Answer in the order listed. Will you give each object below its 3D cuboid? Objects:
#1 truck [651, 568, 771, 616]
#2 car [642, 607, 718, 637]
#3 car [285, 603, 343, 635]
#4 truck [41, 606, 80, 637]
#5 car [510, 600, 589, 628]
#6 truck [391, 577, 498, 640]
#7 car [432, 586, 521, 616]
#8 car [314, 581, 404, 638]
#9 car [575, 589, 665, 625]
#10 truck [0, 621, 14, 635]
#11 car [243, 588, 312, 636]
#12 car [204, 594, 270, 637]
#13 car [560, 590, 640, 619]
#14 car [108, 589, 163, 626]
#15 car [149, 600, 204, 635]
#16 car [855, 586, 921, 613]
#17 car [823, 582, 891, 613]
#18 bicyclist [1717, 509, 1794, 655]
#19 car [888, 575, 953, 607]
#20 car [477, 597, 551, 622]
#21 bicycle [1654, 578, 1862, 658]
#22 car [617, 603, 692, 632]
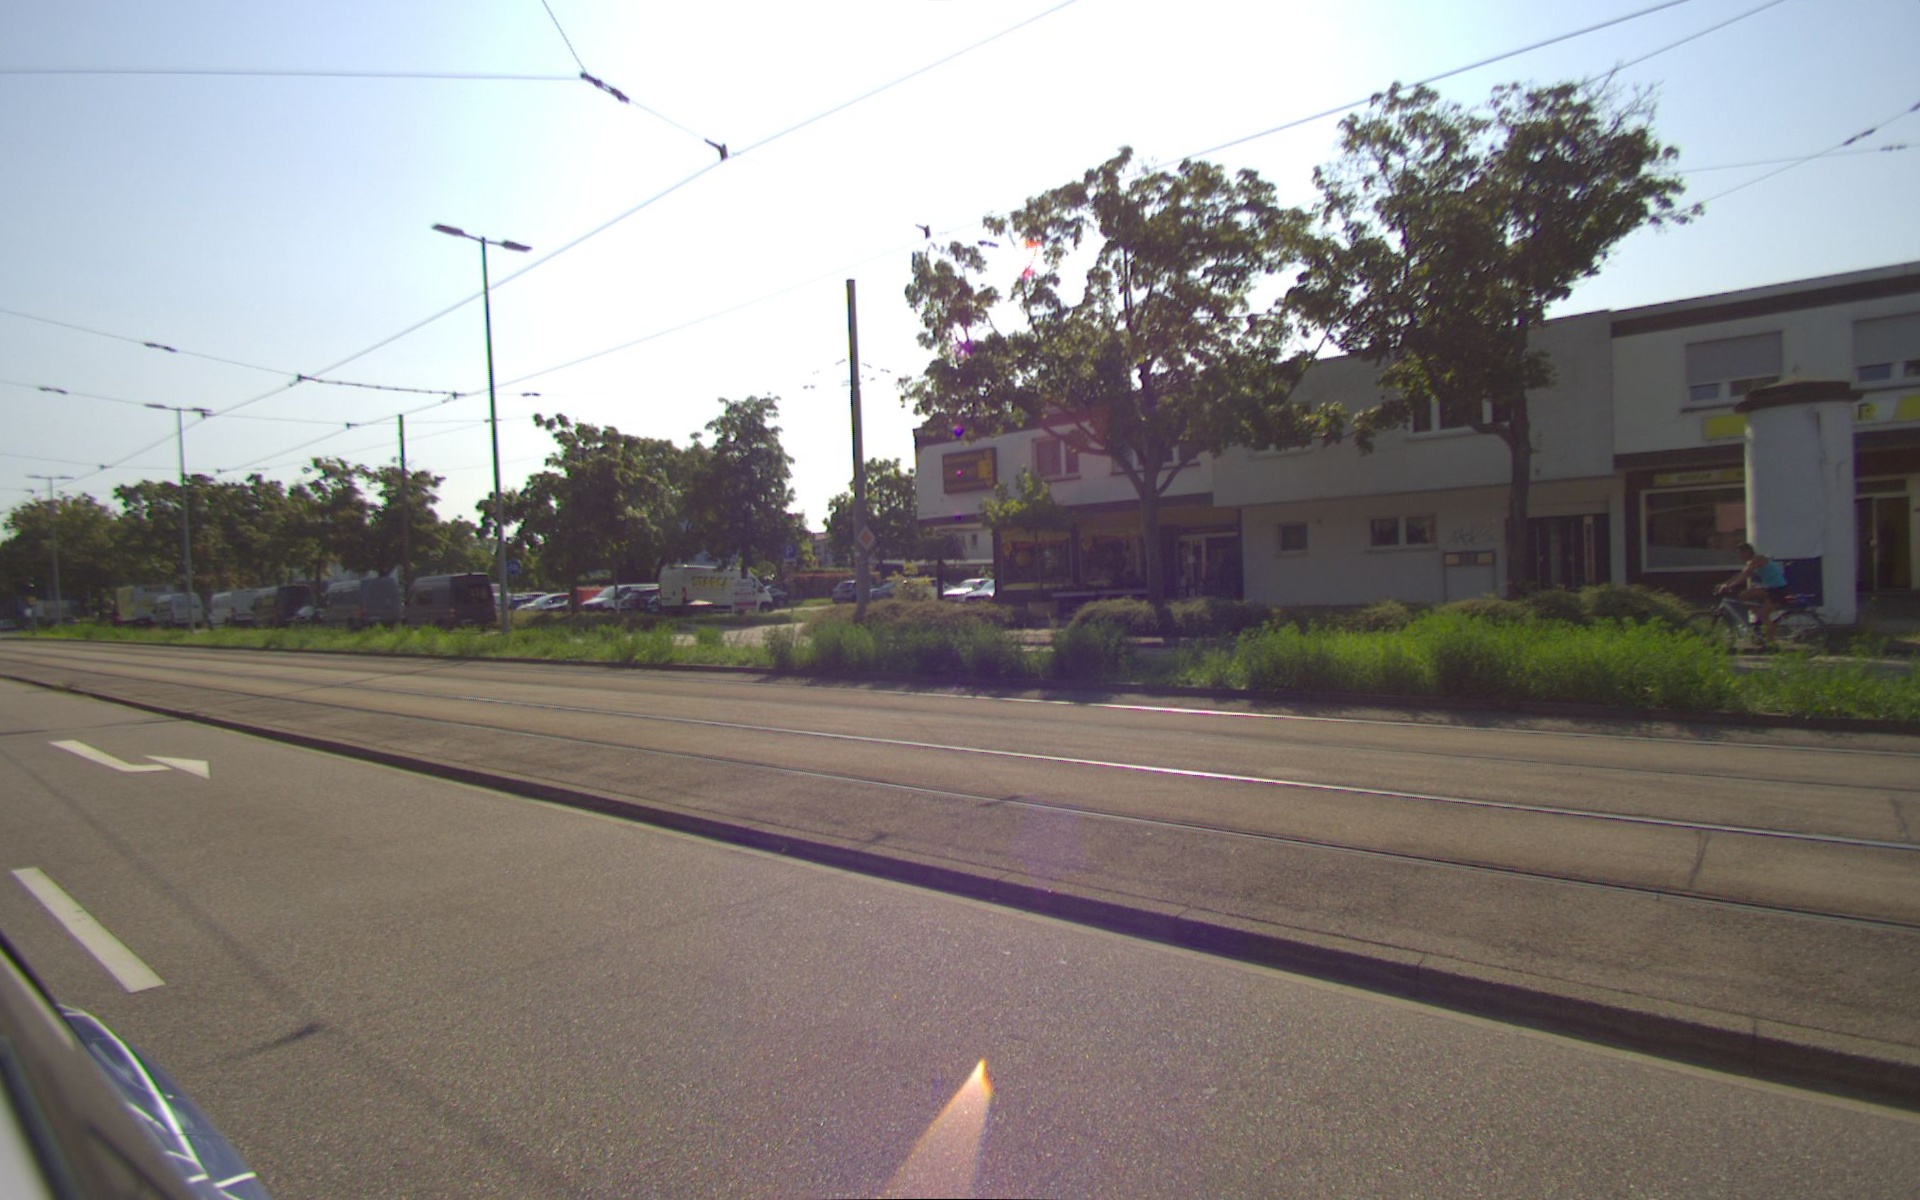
[{"bbox_3d":[-12.021,-0.406,49.246,2.257,2.189,5.436,-1,0,39],"label":"truck"},{"bbox_3d":[-13.941,1.080,50.525,1.631,1.437,3.371,-1,0,39],"label":"car"},{"bbox_3d":[-35.215,1.035,55.133,3.833,1.563,1.726,-1,2,43],"label":"car"},{"bbox_3d":[-96.447,2.285,108.433,8.786,3.145,2.248,-1,0,43],"label":"truck"},{"bbox_3d":[-23.959,0.778,59.170,1.618,1.474,4.127,-2,0,30],"label":"car"},{"bbox_3d":[-22.719,0.386,44.490,5.734,2.567,2.060,-1,0,40],"label":"truck"},{"bbox_3d":[-33.101,0.038,69.462,2.050,1.940,5.134,-1,0,39],"label":"car"},{"bbox_3d":[-30.293,0.484,50.942,6.465,2.605,1.967,-1,2,42],"label":"car"},{"bbox_3d":[-17.984,0.358,53.704,1.631,1.798,4.356,-1,0,39],"label":"car"},{"bbox_3d":[-120.225,3.539,127.064,3.653,1.687,1.670,-1,0,41],"label":"truck"},{"bbox_3d":[-39.760,0.735,58.893,5.907,2.605,1.803,-2,2,41],"label":"car"},{"bbox_3d":[-45.871,0.956,64.187,5.627,2.606,2.110,-1,0,41],"label":"car"},{"bbox_3d":[-19.909,0.215,56.116,1.631,1.530,3.885,-1,0,39],"label":"car"},{"bbox_3d":[-64.652,0.599,79.328,7.227,2.826,2.103,-1,0,41],"label":"car"},{"bbox_3d":[-56.927,1.280,73.496,4.827,2.477,2.122,-1,0,39],"label":"car"},{"bbox_3d":[-4.118,-0.031,58.138,3.662,1.353,1.492,-3,1,-43],"label":"car"},{"bbox_3d":[-6.167,-0.183,60.848,1.759,1.782,3.759,-1,0,45],"label":"car"},{"bbox_3d":[11.663,-0.253,14.856,0.772,2.080,0.633,-1,0,31],"label":"bicyclist"},{"bbox_3d":[-2.190,-0.520,56.952,1.873,1.513,3.416,-2,3,37],"label":"car"},{"bbox_3d":[-27.673,0.592,62.837,1.631,1.461,3.885,-1,0,39],"label":"car"},{"bbox_3d":[11.576,0.262,14.785,2.253,1.099,0.711,-1,0,26],"label":"bicycle"},{"bbox_3d":[-15.731,0.883,52.200,1.631,1.437,3.371,-1,0,39],"label":"car"}]
